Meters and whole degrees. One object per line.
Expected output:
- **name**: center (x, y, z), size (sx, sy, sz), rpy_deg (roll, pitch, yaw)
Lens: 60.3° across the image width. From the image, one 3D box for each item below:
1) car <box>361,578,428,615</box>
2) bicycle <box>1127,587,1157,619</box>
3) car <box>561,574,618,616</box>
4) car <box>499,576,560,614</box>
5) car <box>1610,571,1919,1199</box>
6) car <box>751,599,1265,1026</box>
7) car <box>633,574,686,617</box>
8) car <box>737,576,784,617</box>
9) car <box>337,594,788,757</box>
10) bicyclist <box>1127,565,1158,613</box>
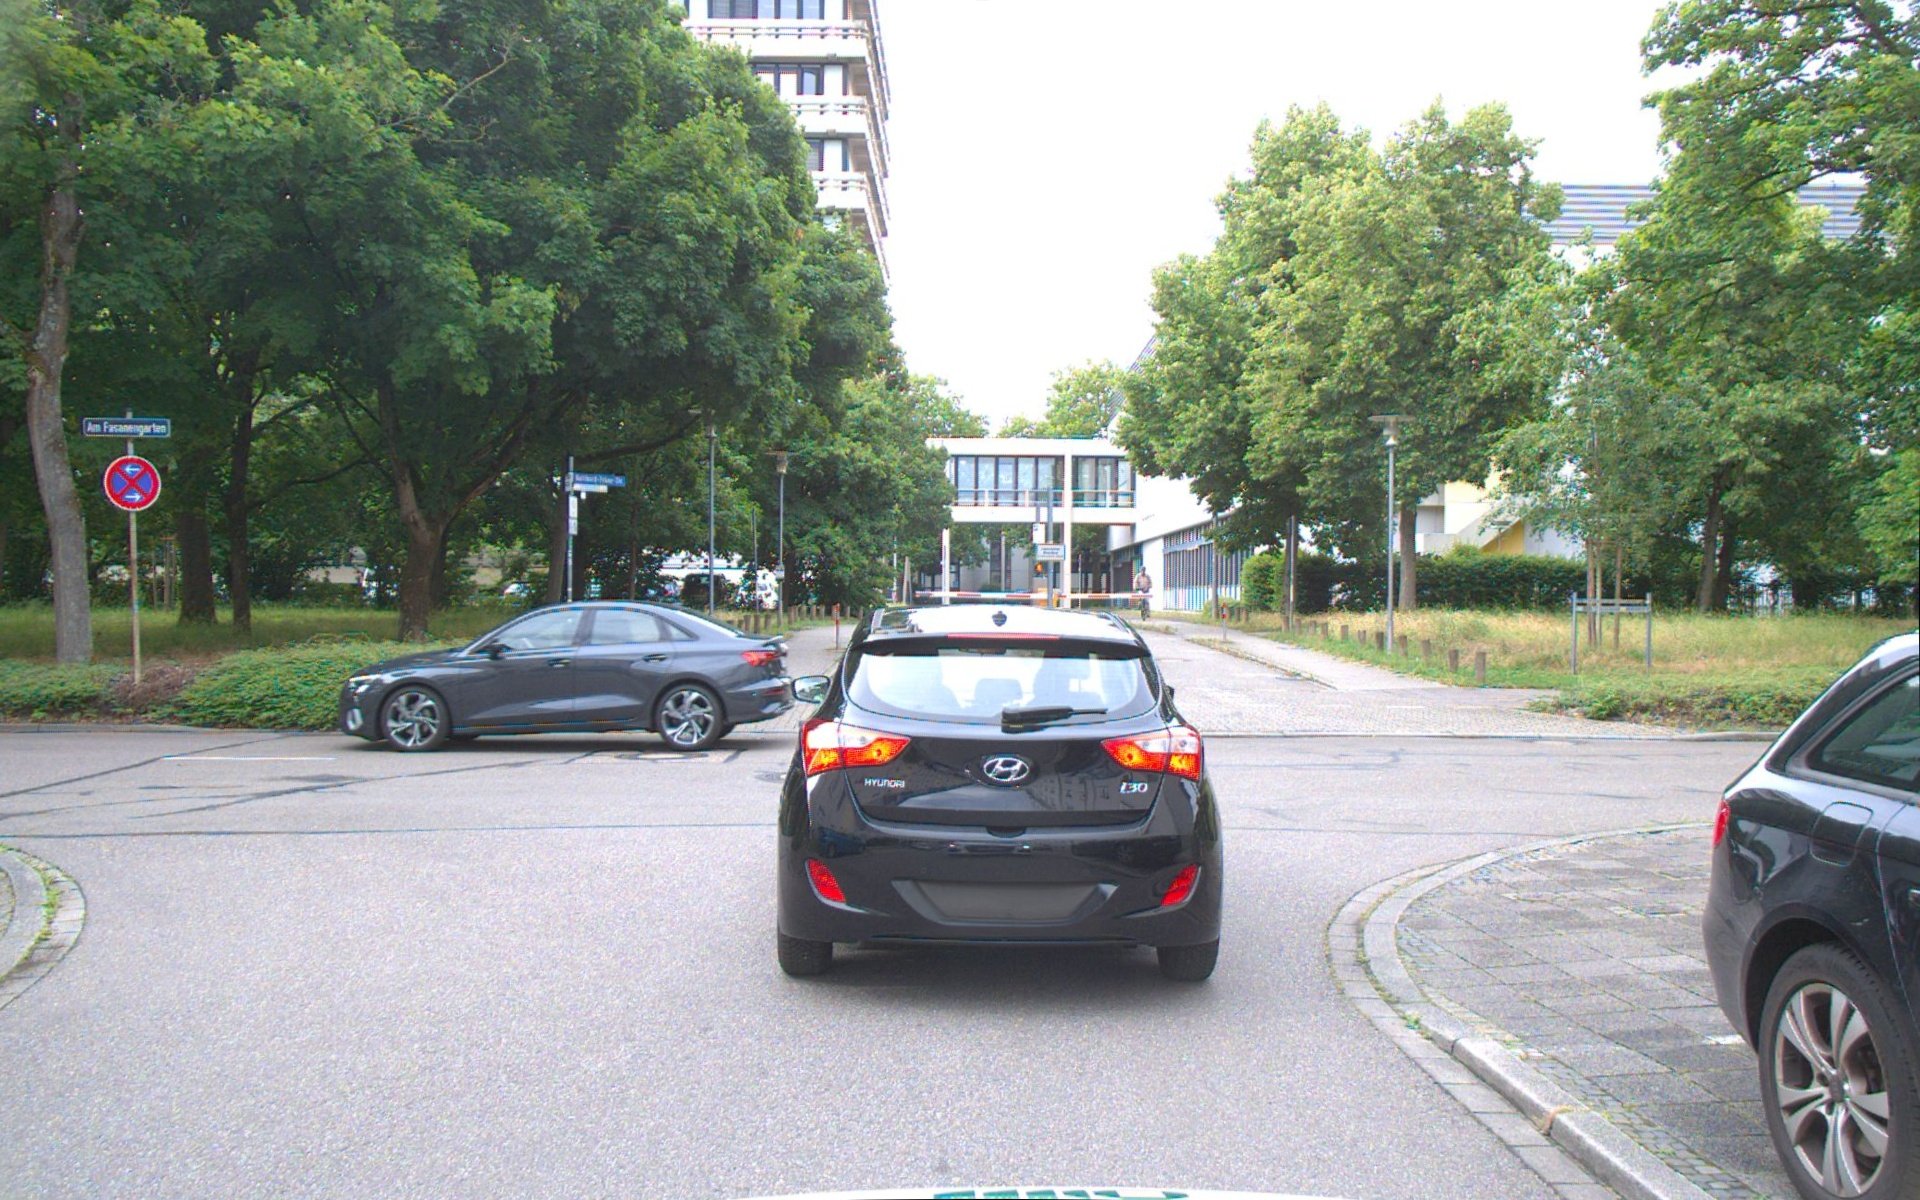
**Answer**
- **car**: center (-25.179, -0.161, 73.762), size (1.880, 1.646, 3.996), rpy_deg (0, 0, -5)
- **bicycle**: center (6.426, 0.085, 58.462), size (0.849, 1.093, 2.142), rpy_deg (0, 1, 0)
- **car**: center (-16.437, -0.194, 73.505), size (1.955, 1.758, 3.995), rpy_deg (0, -1, -5)
- **car**: center (-19.104, -0.213, 73.520), size (1.955, 1.646, 3.996), rpy_deg (0, 0, -5)
- **car**: center (2.911, 0.678, 2.462), size (1.823, 1.488, 4.723), rpy_deg (-1, 0, -3)
- **car**: center (0.072, 0.749, 7.740), size (1.809, 1.488, 3.825), rpy_deg (0, 0, -3)
- **car**: center (-13.400, -0.168, 73.895), size (1.955, 1.825, 3.995), rpy_deg (0, -1, -5)
- **car**: center (-8.899, -0.130, 74.047), size (1.955, 1.793, 3.996), rpy_deg (0, -1, -5)
- **car**: center (-3.773, 0.700, 16.278), size (4.021, 1.488, 1.869), rpy_deg (0, 1, -3)
- **bicyclist**: center (6.426, -0.381, 58.365), size (0.996, 1.673, 0.923), rpy_deg (0, 1, 0)
